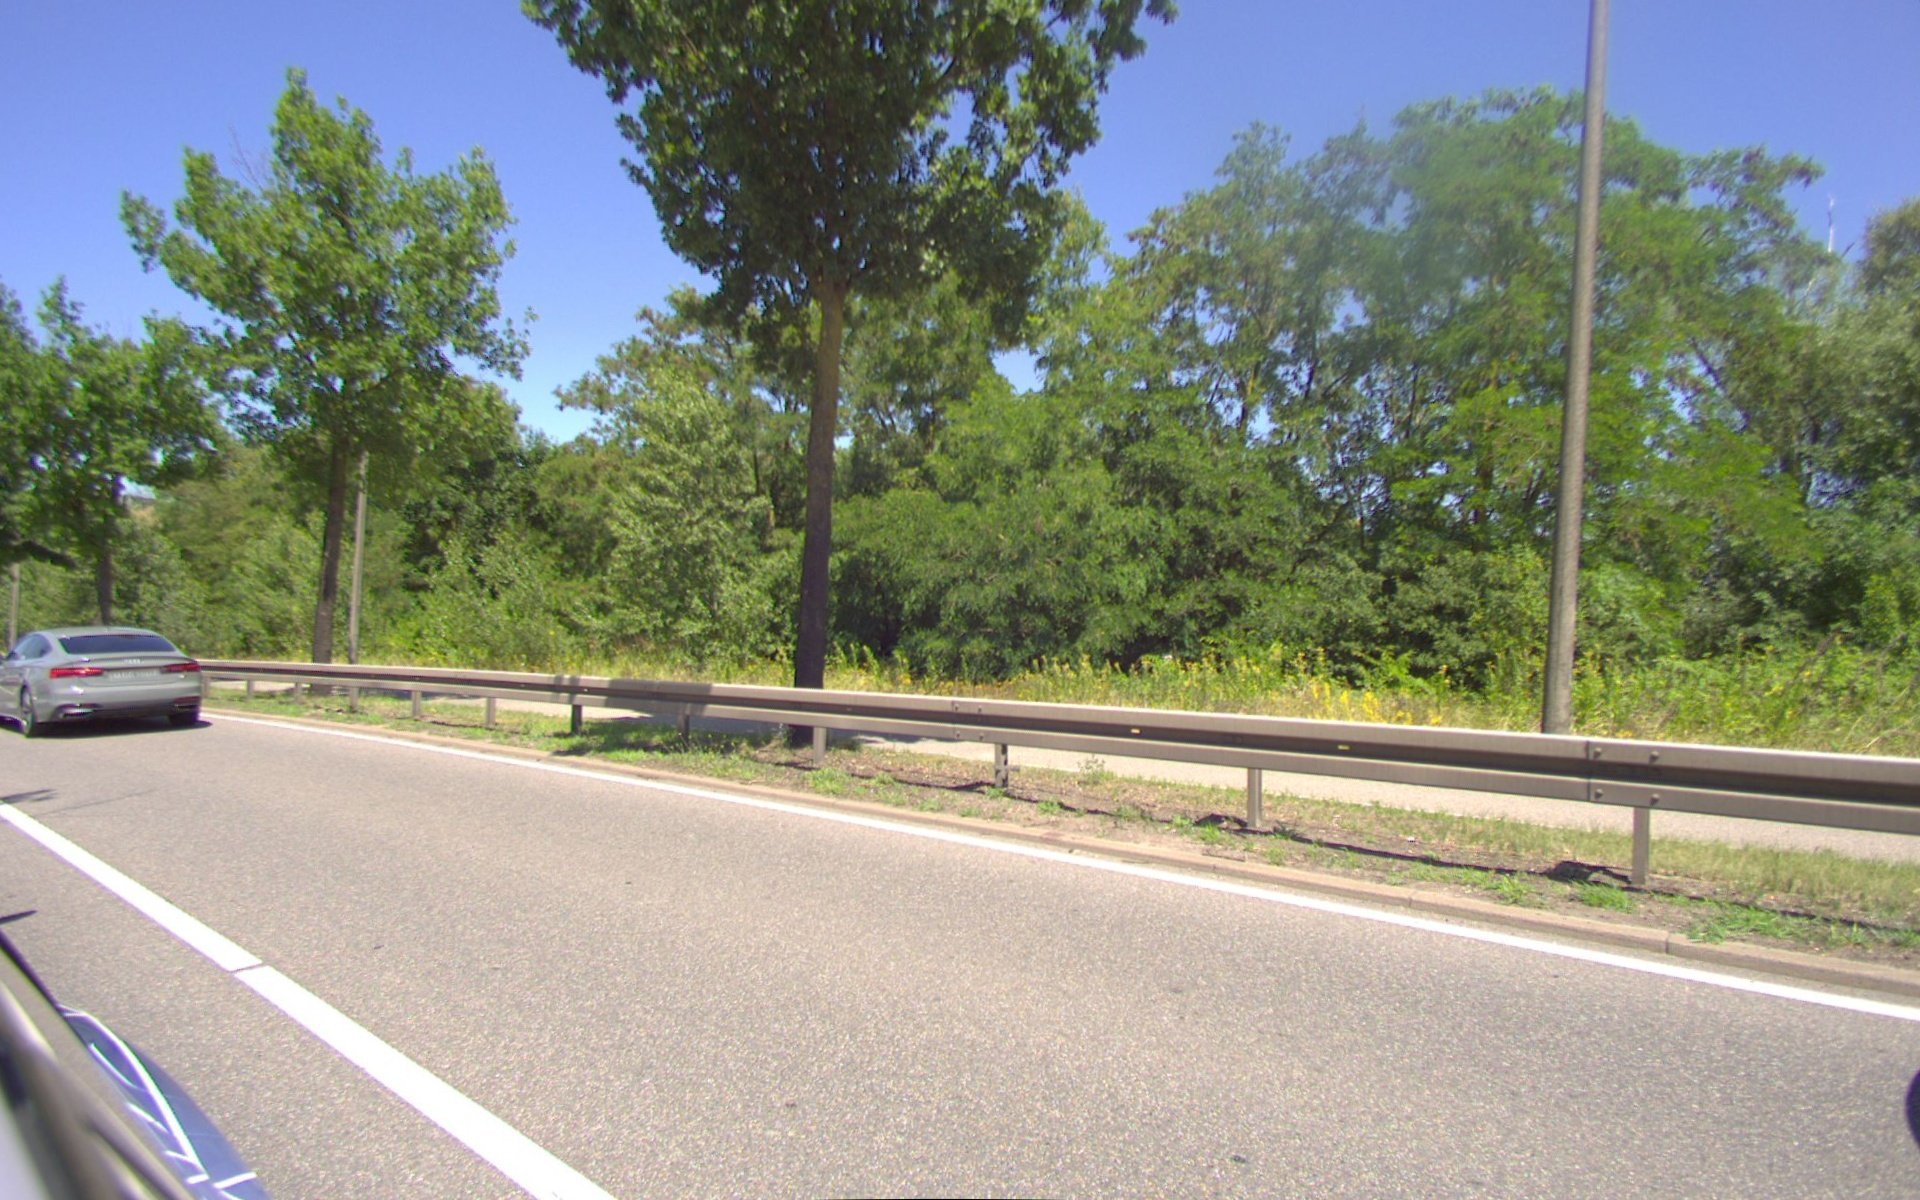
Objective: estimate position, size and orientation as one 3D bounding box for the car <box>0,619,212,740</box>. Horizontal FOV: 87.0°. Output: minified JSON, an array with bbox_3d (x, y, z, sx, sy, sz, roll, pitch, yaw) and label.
[{"bbox_3d":[-12.232,0.991,14.096,4.398,1.406,1.743,-1,0,37],"label":"car"}]
